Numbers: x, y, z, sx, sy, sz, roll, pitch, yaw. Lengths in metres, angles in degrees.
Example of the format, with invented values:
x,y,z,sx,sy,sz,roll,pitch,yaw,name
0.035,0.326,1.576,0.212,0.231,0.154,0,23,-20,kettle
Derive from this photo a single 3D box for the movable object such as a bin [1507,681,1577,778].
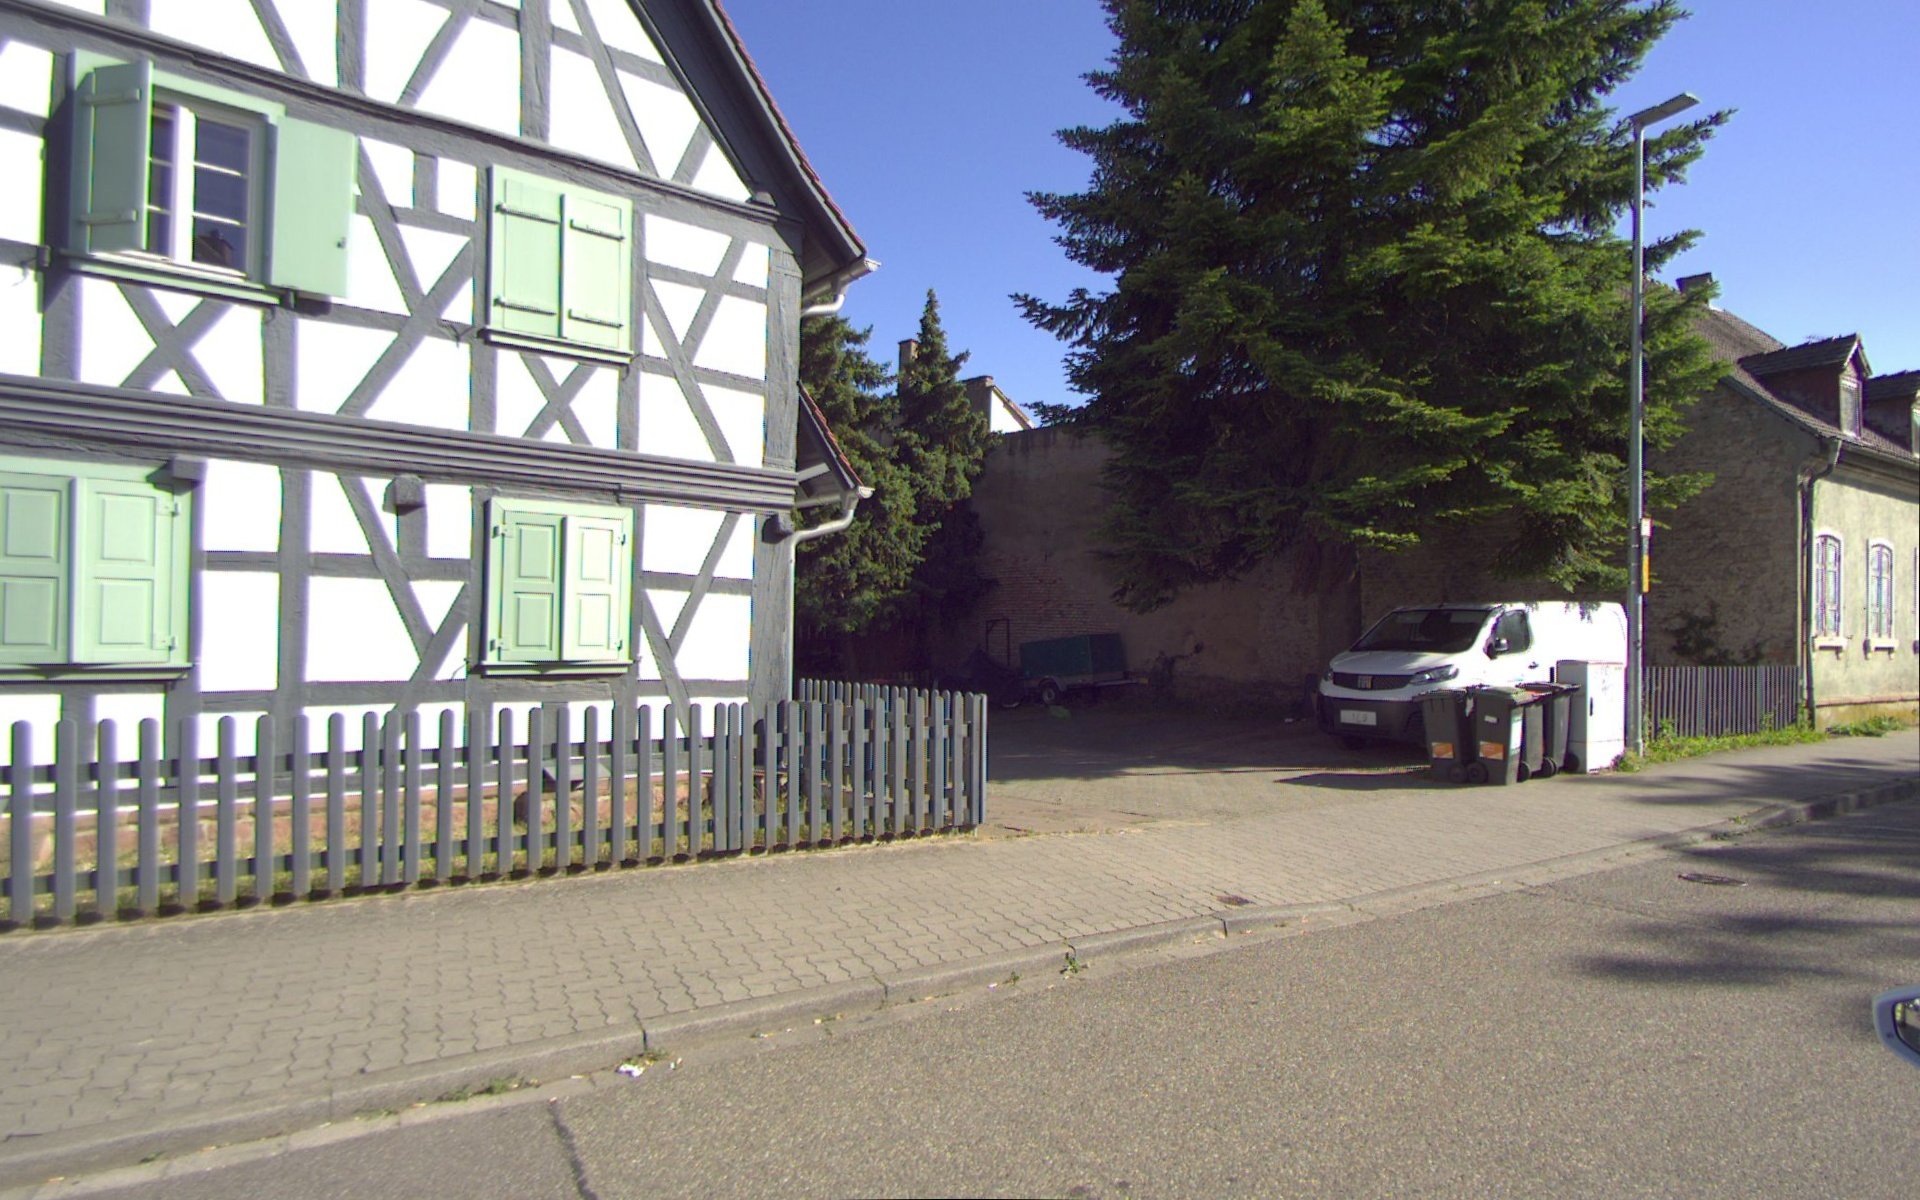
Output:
x,y,z,sx,sy,sz,roll,pitch,yaw,name
6.055,1.330,10.445,0.485,0.936,0.418,-1,-1,-32,movable object such as a bin

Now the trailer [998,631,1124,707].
x,y,z,sx,sy,sz,roll,pitch,yaw,name
2.239,1.491,22.417,1.534,1.592,2.411,2,-3,-42,trailer

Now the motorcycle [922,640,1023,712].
x,y,z,sx,sy,sz,roll,pitch,yaw,name
0.285,1.587,21.326,2.120,1.371,0.591,-1,-1,-32,motorcycle

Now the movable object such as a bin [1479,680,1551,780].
x,y,z,sx,sy,sz,roll,pitch,yaw,name
5.626,1.304,10.186,0.485,0.936,0.426,-1,-1,-32,movable object such as a bin

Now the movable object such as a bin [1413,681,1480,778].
x,y,z,sx,sy,sz,roll,pitch,yaw,name
4.982,1.317,10.296,0.485,0.936,0.418,1,-2,-32,movable object such as a bin

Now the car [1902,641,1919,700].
x,y,z,sx,sy,sz,roll,pitch,yaw,name
30.375,2.019,29.236,4.141,1.755,1.823,-4,-4,41,car

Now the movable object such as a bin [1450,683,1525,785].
x,y,z,sx,sy,sz,roll,pitch,yaw,name
5.208,1.306,9.917,0.485,0.936,0.437,-1,-1,-32,movable object such as a bin

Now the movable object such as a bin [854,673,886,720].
x,y,z,sx,sy,sz,roll,pitch,yaw,name
-1.769,1.886,19.758,0.515,0.891,0.410,1,-4,-30,movable object such as a bin

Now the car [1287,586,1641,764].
x,y,z,sx,sy,sz,roll,pitch,yaw,name
6.850,0.929,13.460,5.087,1.981,1.929,1,-3,-33,car
